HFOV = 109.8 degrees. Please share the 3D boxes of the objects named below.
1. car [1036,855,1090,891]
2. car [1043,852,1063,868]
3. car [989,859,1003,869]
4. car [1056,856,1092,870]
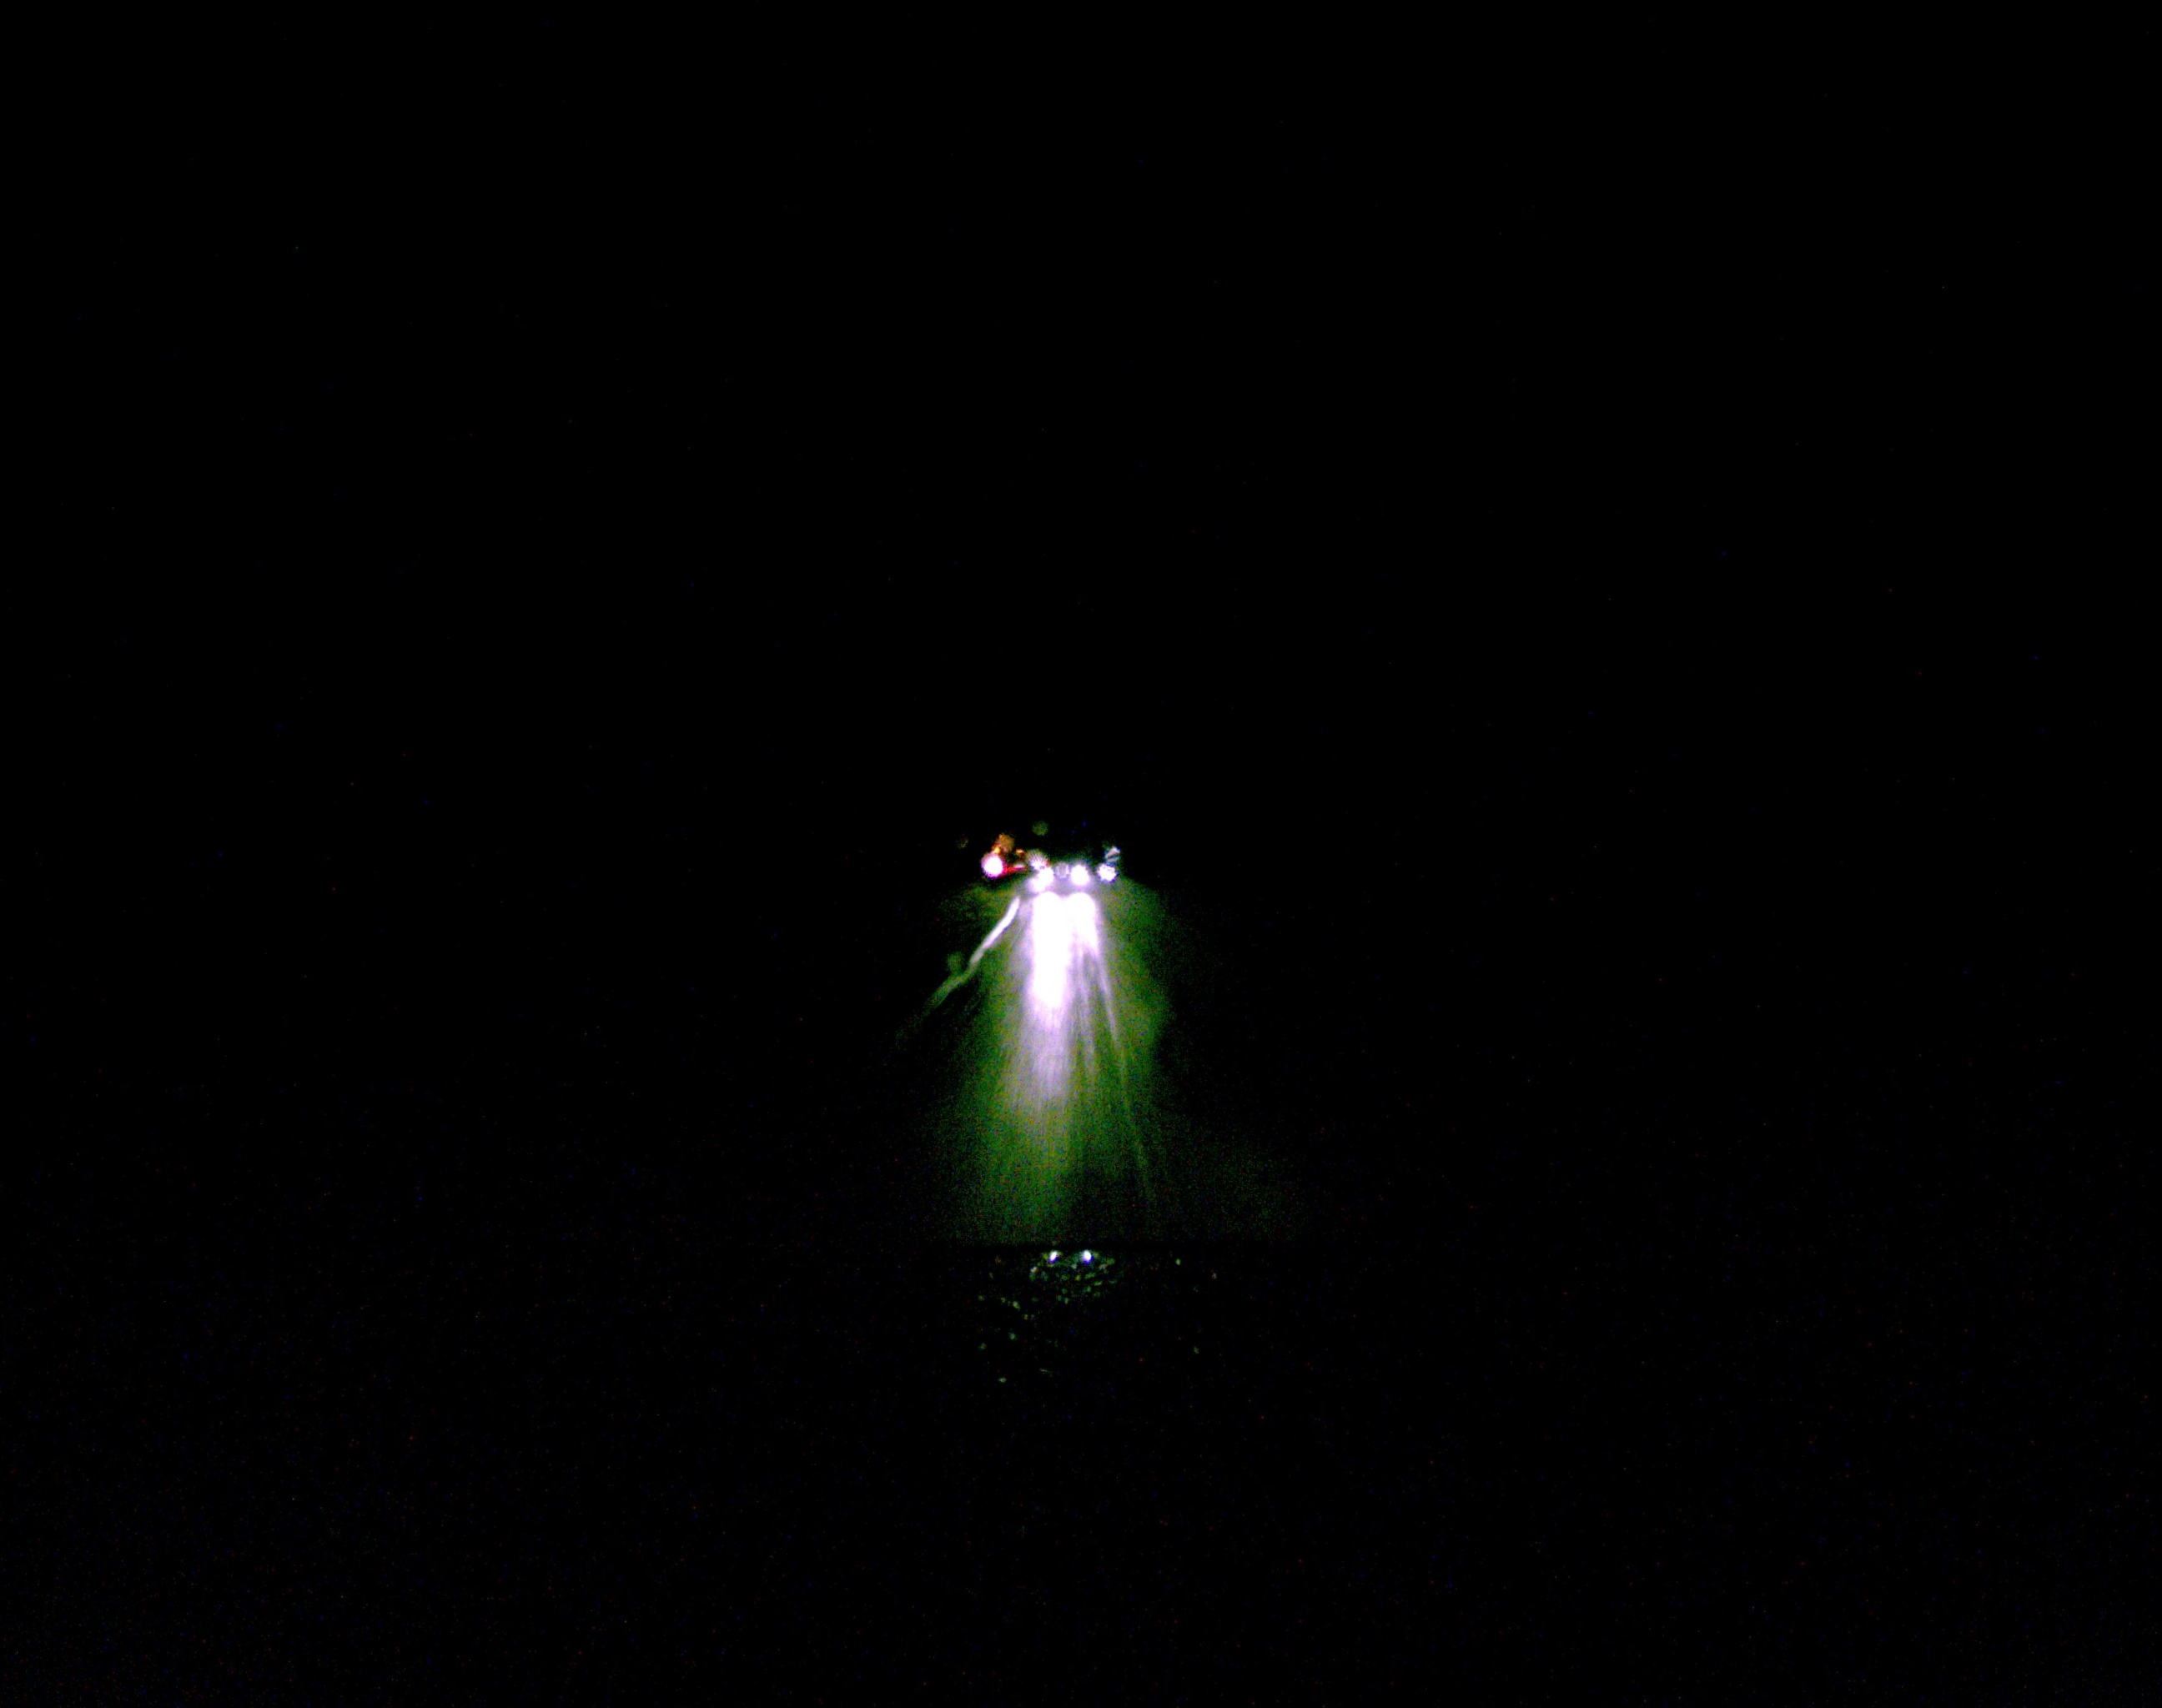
[{"bbox_3d":[-0.922,0.863,35.534,1.903,1.551,3.996,2,-1,-10],"label":"car"},{"bbox_3d":[-3.027,0.674,81.910,1.848,1.710,3.958,-1,-1,-5],"label":"car"},{"bbox_3d":[-13.796,1.620,123.598,1.903,1.551,3.996,2,-1,-10],"label":"car"},{"bbox_3d":[-1.068,1.361,114.423,4.951,1.827,1.932,3,-1,-10],"label":"car"}]
